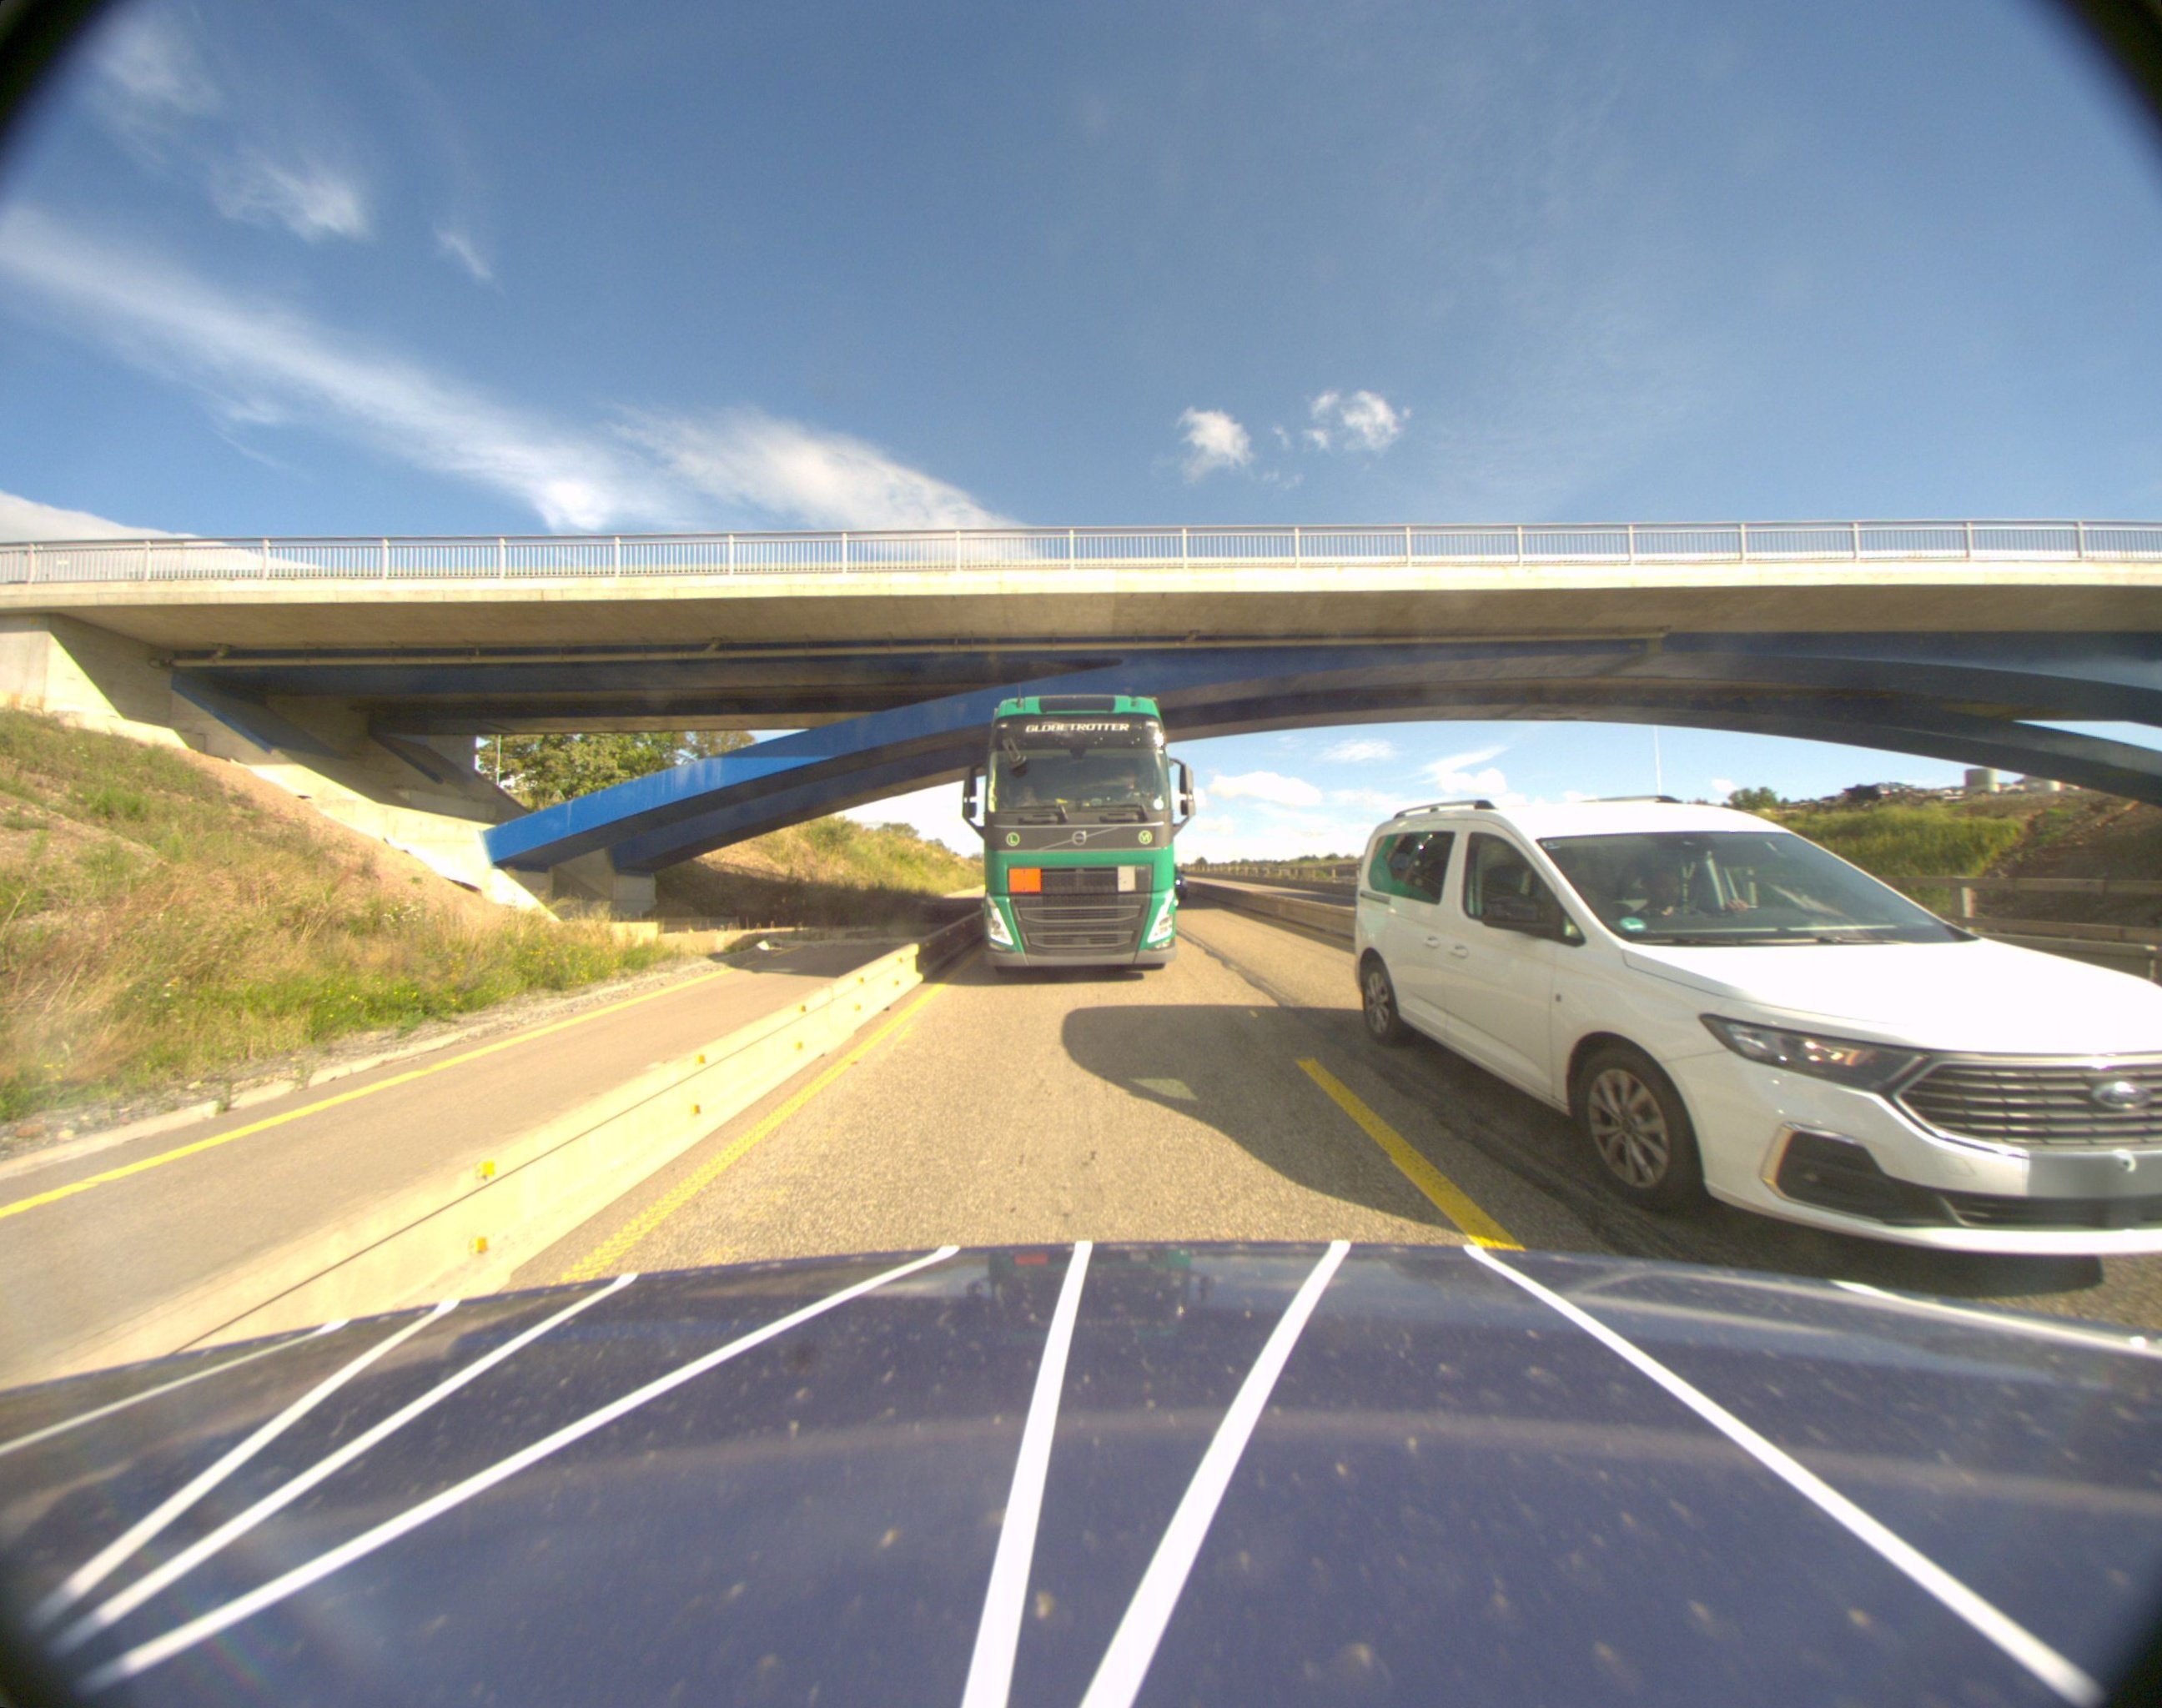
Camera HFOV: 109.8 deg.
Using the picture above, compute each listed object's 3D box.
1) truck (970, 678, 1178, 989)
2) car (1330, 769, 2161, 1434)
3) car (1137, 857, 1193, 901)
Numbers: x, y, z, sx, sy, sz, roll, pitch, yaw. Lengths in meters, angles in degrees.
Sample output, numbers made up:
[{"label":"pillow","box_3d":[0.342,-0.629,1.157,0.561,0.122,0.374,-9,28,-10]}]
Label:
[{"label":"truck","box_3d":[-0.114,-0.265,13.805,2.546,3.899,8.279,-1,0,0]},{"label":"car","box_3d":[3.088,0.684,4.340,1.827,1.813,4.456,-3,0,0]},{"label":"car","box_3d":[3.138,0.898,29.154,1.719,1.499,4.000,-2,0,1]}]
